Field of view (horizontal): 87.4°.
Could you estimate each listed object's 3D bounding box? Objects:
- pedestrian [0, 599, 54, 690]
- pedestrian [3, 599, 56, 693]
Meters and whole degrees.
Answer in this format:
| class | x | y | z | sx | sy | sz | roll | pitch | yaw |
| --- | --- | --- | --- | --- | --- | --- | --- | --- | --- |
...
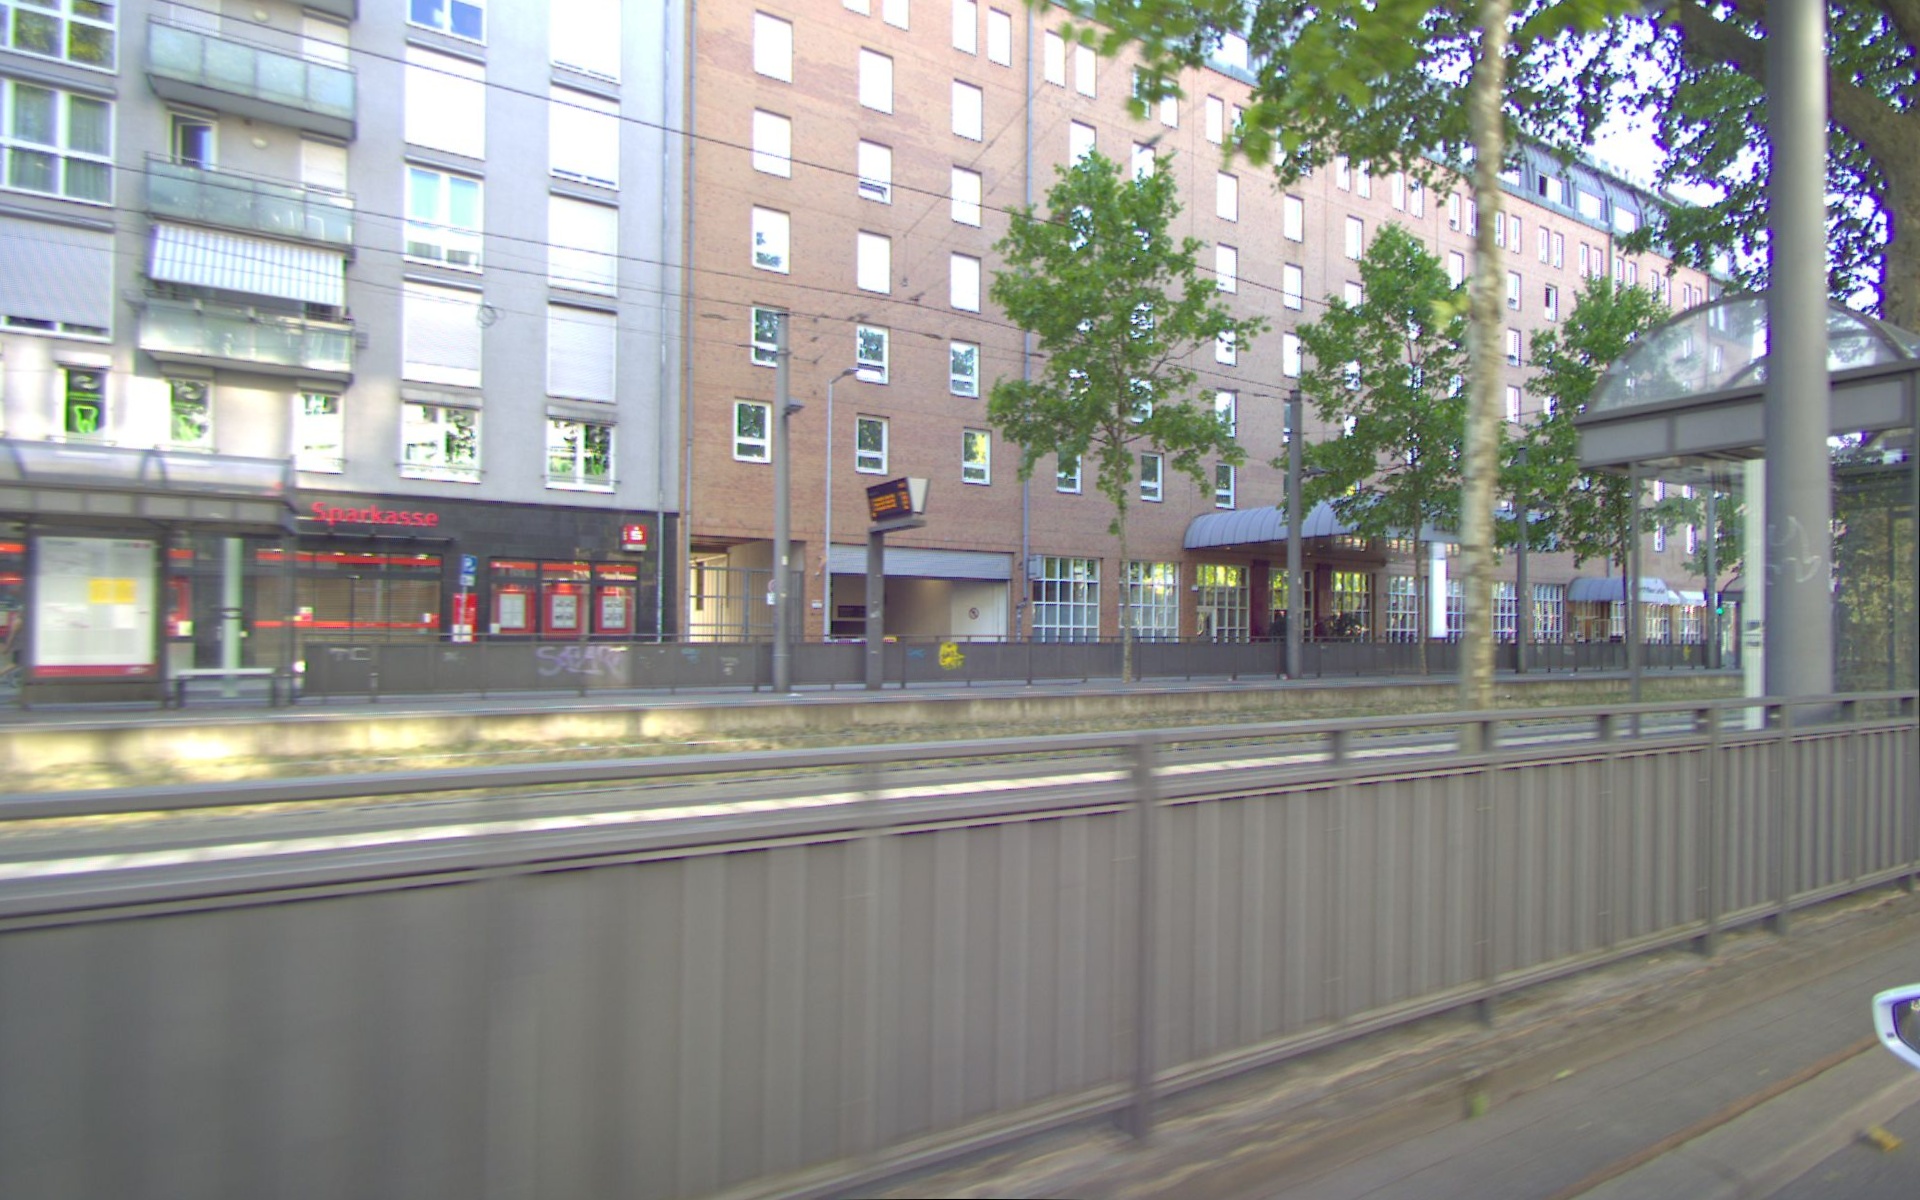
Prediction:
| class | x | y | z | sx | sy | sz | roll | pitch | yaw |
| --- | --- | --- | --- | --- | --- | --- | --- | --- | --- |
| pedestrian | -18.734 | 0.883 | 20.094 | 0.776 | 1.794 | 0.499 | 2 | 0 | -31 |
| pedestrian | -18.195 | 0.899 | 19.653 | 0.621 | 1.794 | 0.499 | 2 | 0 | -31 |
